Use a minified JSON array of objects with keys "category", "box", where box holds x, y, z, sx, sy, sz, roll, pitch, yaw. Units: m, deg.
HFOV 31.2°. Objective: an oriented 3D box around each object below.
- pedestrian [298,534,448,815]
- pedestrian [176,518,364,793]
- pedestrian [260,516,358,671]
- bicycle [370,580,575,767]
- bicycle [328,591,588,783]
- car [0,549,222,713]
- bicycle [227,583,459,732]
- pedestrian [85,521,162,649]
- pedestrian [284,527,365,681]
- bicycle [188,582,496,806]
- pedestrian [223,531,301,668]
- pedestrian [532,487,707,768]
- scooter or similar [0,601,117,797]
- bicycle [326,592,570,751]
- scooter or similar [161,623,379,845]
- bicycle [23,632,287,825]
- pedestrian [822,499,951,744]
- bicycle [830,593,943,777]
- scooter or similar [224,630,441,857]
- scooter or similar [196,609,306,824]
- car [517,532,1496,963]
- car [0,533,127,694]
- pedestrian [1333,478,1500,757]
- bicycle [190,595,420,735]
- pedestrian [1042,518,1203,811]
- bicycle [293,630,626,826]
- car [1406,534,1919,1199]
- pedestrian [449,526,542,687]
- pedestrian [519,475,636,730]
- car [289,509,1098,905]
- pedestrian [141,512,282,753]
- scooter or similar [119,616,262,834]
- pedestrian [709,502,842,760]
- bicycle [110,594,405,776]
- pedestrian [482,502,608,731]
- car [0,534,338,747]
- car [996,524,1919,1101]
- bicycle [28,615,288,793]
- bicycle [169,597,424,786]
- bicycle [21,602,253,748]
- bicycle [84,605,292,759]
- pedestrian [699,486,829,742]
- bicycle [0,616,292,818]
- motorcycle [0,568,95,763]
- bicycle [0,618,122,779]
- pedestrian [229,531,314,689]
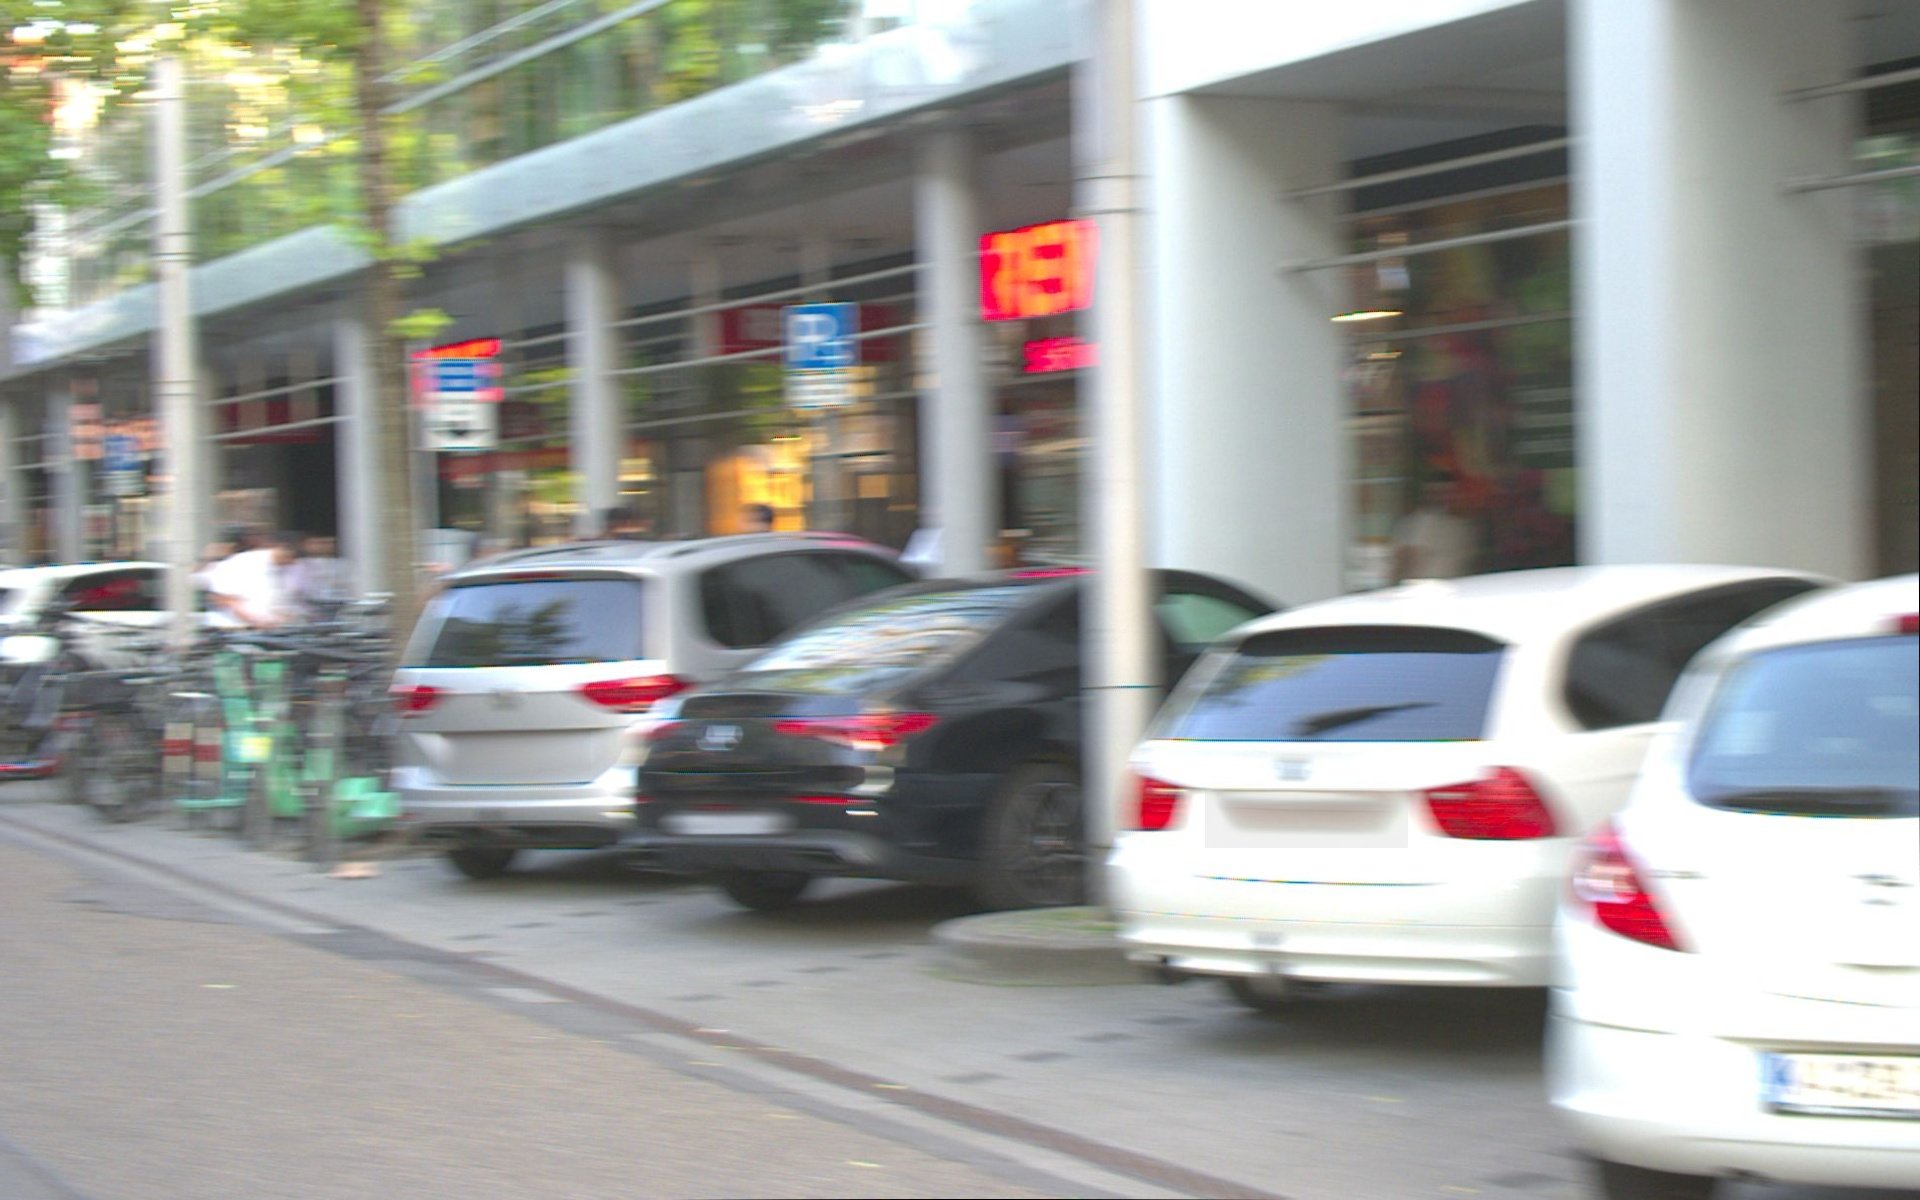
[{"category":"pedestrian","box":[-3.523,0.431,20.686,0.789,1.620,0.769,-3,2,-8]},{"category":"pedestrian","box":[-5.049,0.387,25.154,0.949,1.907,0.862,-5,4,-39]},{"category":"pedestrian","box":[-7.725,-0.091,40.779,0.877,1.776,0.755,-4,3,-28]},{"category":"bicycle","box":[-3.431,0.503,24.333,0.554,1.185,1.694,-1,3,25]},{"category":"bicycle","box":[-3.366,0.566,23.145,1.691,1.145,0.501,-5,3,-42]},{"category":"car","box":[-9.793,0.368,34.881,1.862,1.452,4.176,-2,3,40]},{"category":"bicycle","box":[-5.109,0.470,28.579,0.843,1.113,1.788,-2,2,34]},{"category":"pedestrian","box":[-12.289,-0.231,50.487,0.832,1.830,0.944,-3,2,-27]},{"category":"pedestrian","box":[-7.137,0.045,38.605,0.662,1.693,0.805,-1,0,-28]},{"category":"bicycle","box":[-3.940,0.574,22.038,0.681,1.269,1.829,0,4,45]},{"category":"pedestrian","box":[-8.511,-0.018,41.891,0.596,1.610,1.022,-4,3,-28]},{"category":"pedestrian","box":[-2.273,0.169,23.061,0.885,1.806,0.937,-2,2,8]},{"category":"scooter or similar","box":[-6.644,0.678,23.806,1.390,1.300,0.696,-1,2,25]},{"category":"bicycle","box":[-3.886,0.529,26.232,0.823,1.090,1.830,-1,2,32]},{"category":"scooter or similar","box":[-3.953,0.751,19.783,0.498,1.177,1.331,-1,1,26]},{"category":"bicycle","box":[-5.135,0.801,22.031,0.493,1.072,1.746,-1,3,33]},{"category":"pedestrian","box":[-0.486,0.134,22.599,0.760,1.566,0.631,-2,1,-5]},{"category":"bicycle","box":[-0.493,0.527,22.348,0.572,1.079,1.884,-3,2,-5]},{"category":"scooter or similar","box":[-3.467,0.777,19.101,0.578,1.146,1.400,-1,2,17]},{"category":"scooter or similar","box":[-4.310,0.686,20.862,0.568,1.200,1.282,-3,2,-13]},{"category":"car","box":[0.350,0.555,15.378,1.953,1.417,4.340,-2,3,41]},{"category":"car","box":[-11.260,0.236,37.132,1.918,1.632,4.201,-2,3,31]},{"category":"pedestrian","box":[2.836,0.089,21.396,0.680,1.693,0.806,-1,2,-28]},{"category":"bicycle","box":[-5.730,0.559,30.162,0.935,1.113,1.746,-1,2,39]},{"category":"pedestrian","box":[1.002,0.379,21.315,0.680,1.765,0.806,-1,2,-28]},{"category":"bicycle","box":[-2.948,0.747,20.221,1.876,1.072,0.630,-1,3,28]},{"category":"car","box":[2.861,0.602,8.483,1.793,1.496,4.061,-3,2,34]},{"category":"pedestrian","box":[-4.500,0.063,33.308,0.680,1.543,0.665,-1,0,-28]},{"category":"pedestrian","box":[-2.781,0.003,25.056,0.658,1.806,0.717,-3,2,3]},{"category":"car","box":[-1.198,0.457,17.910,1.952,1.634,4.669,-2,2,28]},{"category":"pedestrian","box":[-5.829,0.250,26.807,0.599,1.806,0.818,-1,4,25]},{"category":"scooter or similar","box":[-4.576,0.722,20.405,0.482,1.218,1.214,-4,2,-26]},{"category":"pedestrian","box":[-1.297,0.203,24.041,0.729,1.748,0.717,-3,2,-14]},{"category":"bicycle","box":[-5.097,0.594,25.046,0.698,1.144,1.995,0,4,45]},{"category":"pedestrian","box":[-3.377,0.127,27.998,0.790,1.806,0.660,-2,2,8]},{"category":"car","box":[-7.730,0.337,30.557,1.874,1.557,4.337,-2,2,30]},{"category":"car","box":[2.263,0.563,11.827,1.827,1.417,4.340,-1,3,41]},{"category":"bicycle","box":[-5.613,0.711,24.171,0.623,1.072,1.830,-1,4,31]},{"category":"bicycle","box":[-4.467,0.596,23.237,0.478,1.135,1.683,0,3,43]},{"category":"bicycle","box":[-6.900,0.620,28.920,0.917,1.113,1.747,-2,2,29]},{"category":"bicycle","box":[-6.084,0.637,27.163,0.553,1.030,1.594,-2,5,33]},{"category":"pedestrian","box":[-1.429,0.094,25.031,0.657,1.806,0.717,-3,2,-23]},{"category":"bicycle","box":[-5.335,0.737,22.424,0.679,1.126,1.990,-1,3,33]},{"category":"motorcycle","box":[-7.838,0.536,27.219,0.794,1.466,2.203,-1,3,19]},{"category":"bicycle","box":[-7.198,0.741,25.641,0.805,1.113,1.747,-1,2,31]},{"category":"pedestrian","box":[-7.515,0.106,37.498,0.680,1.693,0.805,-1,0,-28]}]
